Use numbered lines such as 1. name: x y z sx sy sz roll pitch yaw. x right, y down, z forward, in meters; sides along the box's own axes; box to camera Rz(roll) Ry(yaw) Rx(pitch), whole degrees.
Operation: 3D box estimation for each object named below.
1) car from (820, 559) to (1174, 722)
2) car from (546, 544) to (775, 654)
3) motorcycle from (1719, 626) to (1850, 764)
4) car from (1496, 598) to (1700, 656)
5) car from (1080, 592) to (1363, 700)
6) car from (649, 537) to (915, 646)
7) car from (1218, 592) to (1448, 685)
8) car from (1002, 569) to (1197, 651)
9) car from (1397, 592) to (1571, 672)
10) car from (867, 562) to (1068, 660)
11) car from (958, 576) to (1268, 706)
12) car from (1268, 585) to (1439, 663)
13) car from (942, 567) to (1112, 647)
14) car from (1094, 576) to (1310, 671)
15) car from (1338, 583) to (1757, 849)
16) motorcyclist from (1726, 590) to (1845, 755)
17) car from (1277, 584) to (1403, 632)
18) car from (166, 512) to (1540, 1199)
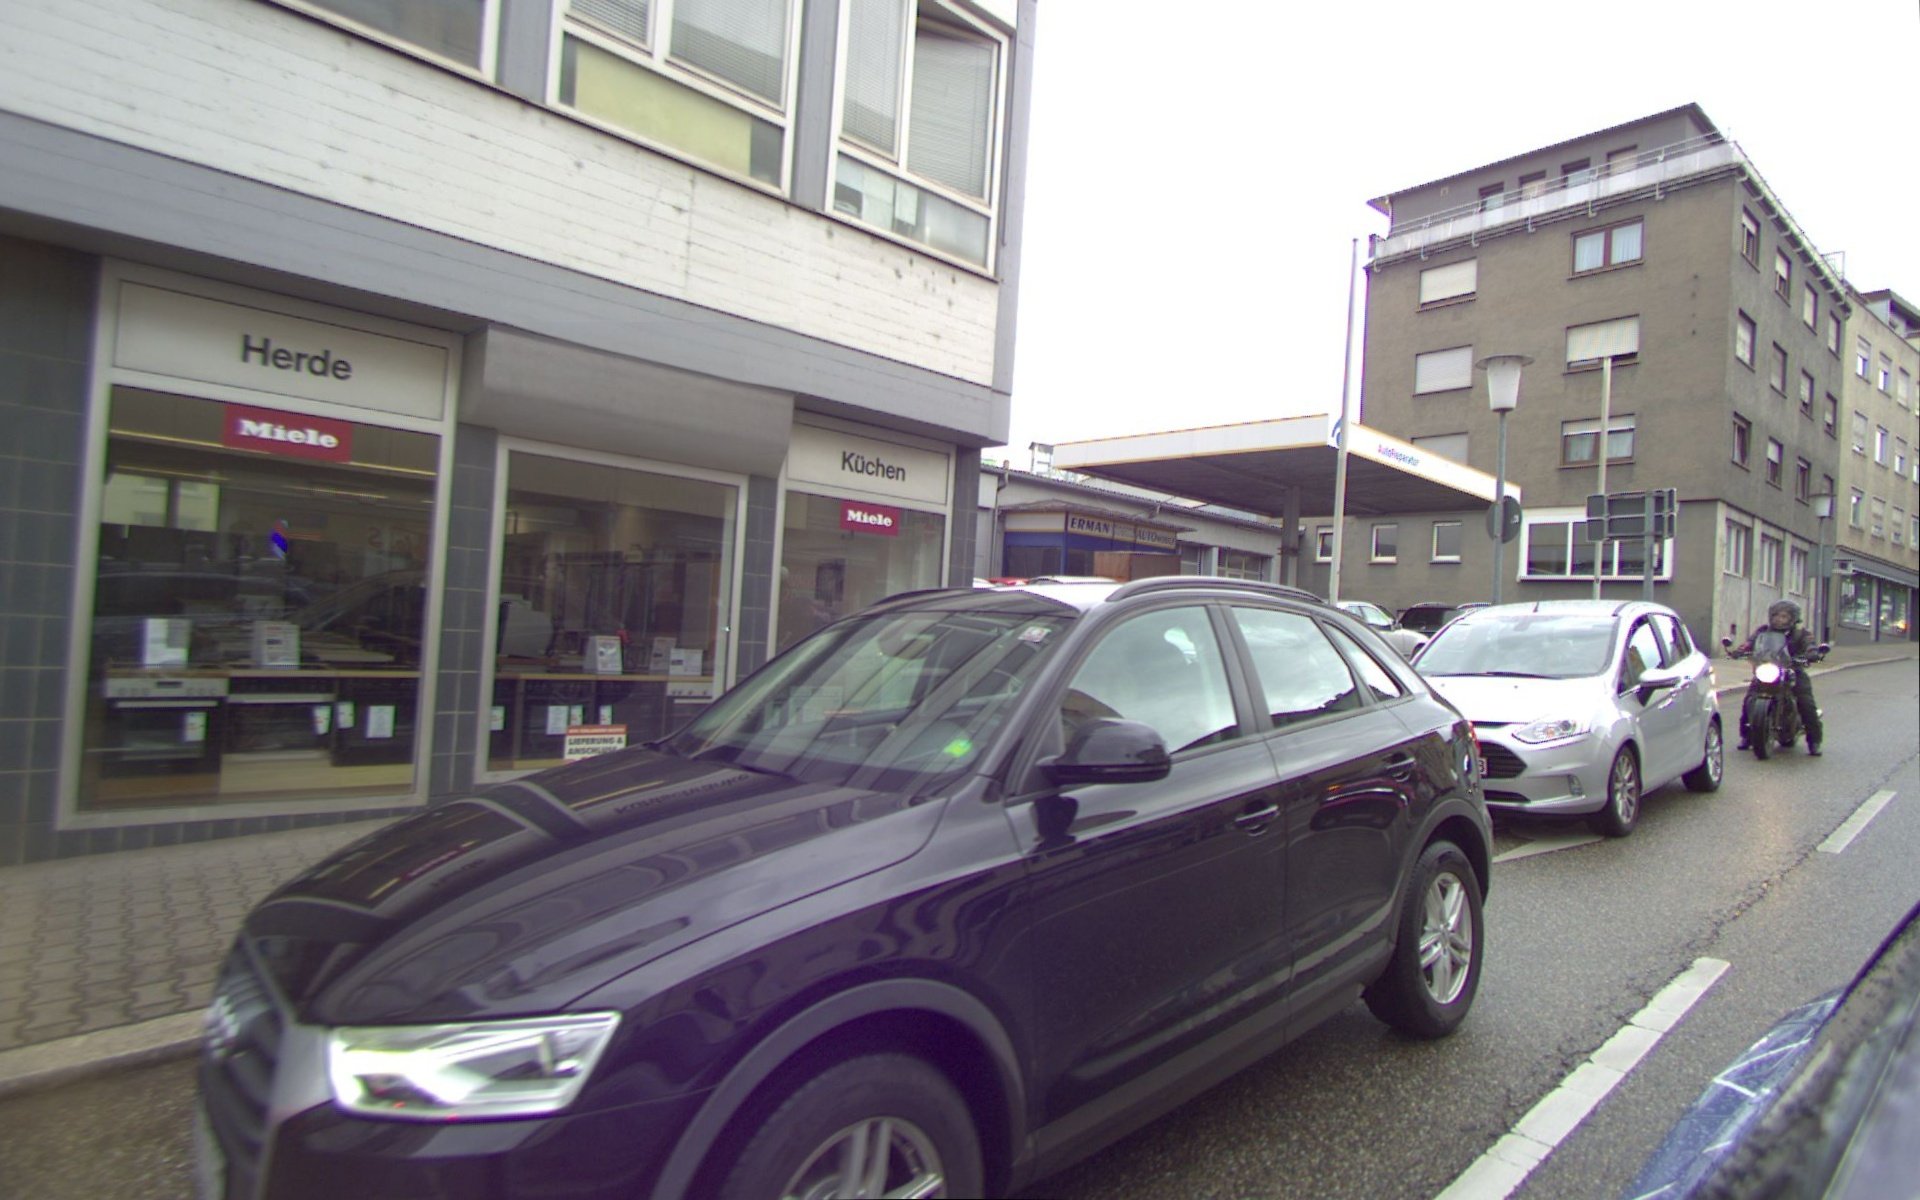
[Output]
1. car: 0.392 0.381 12.504 3.973 1.468 1.778 6 3 33
2. car: -5.763 -0.027 19.703 3.879 1.934 1.792 0 1 -40
3. motorcycle: 8.611 0.909 10.532 0.844 1.241 2.335 -2 -2 44
4. car: 18.159 0.738 28.998 1.963 1.523 4.533 1 -1 -36
5. car: 4.028 0.621 15.841 3.975 1.418 1.650 2 1 36
6. car: -2.831 -0.151 16.533 3.879 1.541 1.793 0 3 -40
7. car: 6.826 0.619 18.305 4.531 1.433 1.793 0 2 -39
8. car: 3.131 0.186 22.192 4.340 1.620 1.792 0 1 -40
9. car: 11.335 0.621 21.763 4.359 1.531 1.792 0 1 -40
10. car: 0.183 0.176 19.209 3.456 1.619 1.793 0 3 -40
11. car: 2.107 0.476 14.298 3.972 1.549 1.742 2 1 34
12. car: 9.256 0.575 23.660 4.340 1.530 1.793 2 3 -40
13. car: 1.634 0.147 24.059 3.879 1.752 1.792 0 1 -40
14. car: 4.861 0.470 20.008 4.411 1.563 1.793 2 3 -40
15. car: 4.861 0.716 8.092 4.182 1.561 1.827 0 -2 -45
16. motorcyclist: 8.571 0.713 10.504 0.844 1.610 0.947 -2 -2 44
17. car: 13.419 0.250 35.886 1.761 1.472 3.753 3 0 -38
18. car: 0.128 0.695 3.261 4.130 1.580 1.825 0 -1 -42
